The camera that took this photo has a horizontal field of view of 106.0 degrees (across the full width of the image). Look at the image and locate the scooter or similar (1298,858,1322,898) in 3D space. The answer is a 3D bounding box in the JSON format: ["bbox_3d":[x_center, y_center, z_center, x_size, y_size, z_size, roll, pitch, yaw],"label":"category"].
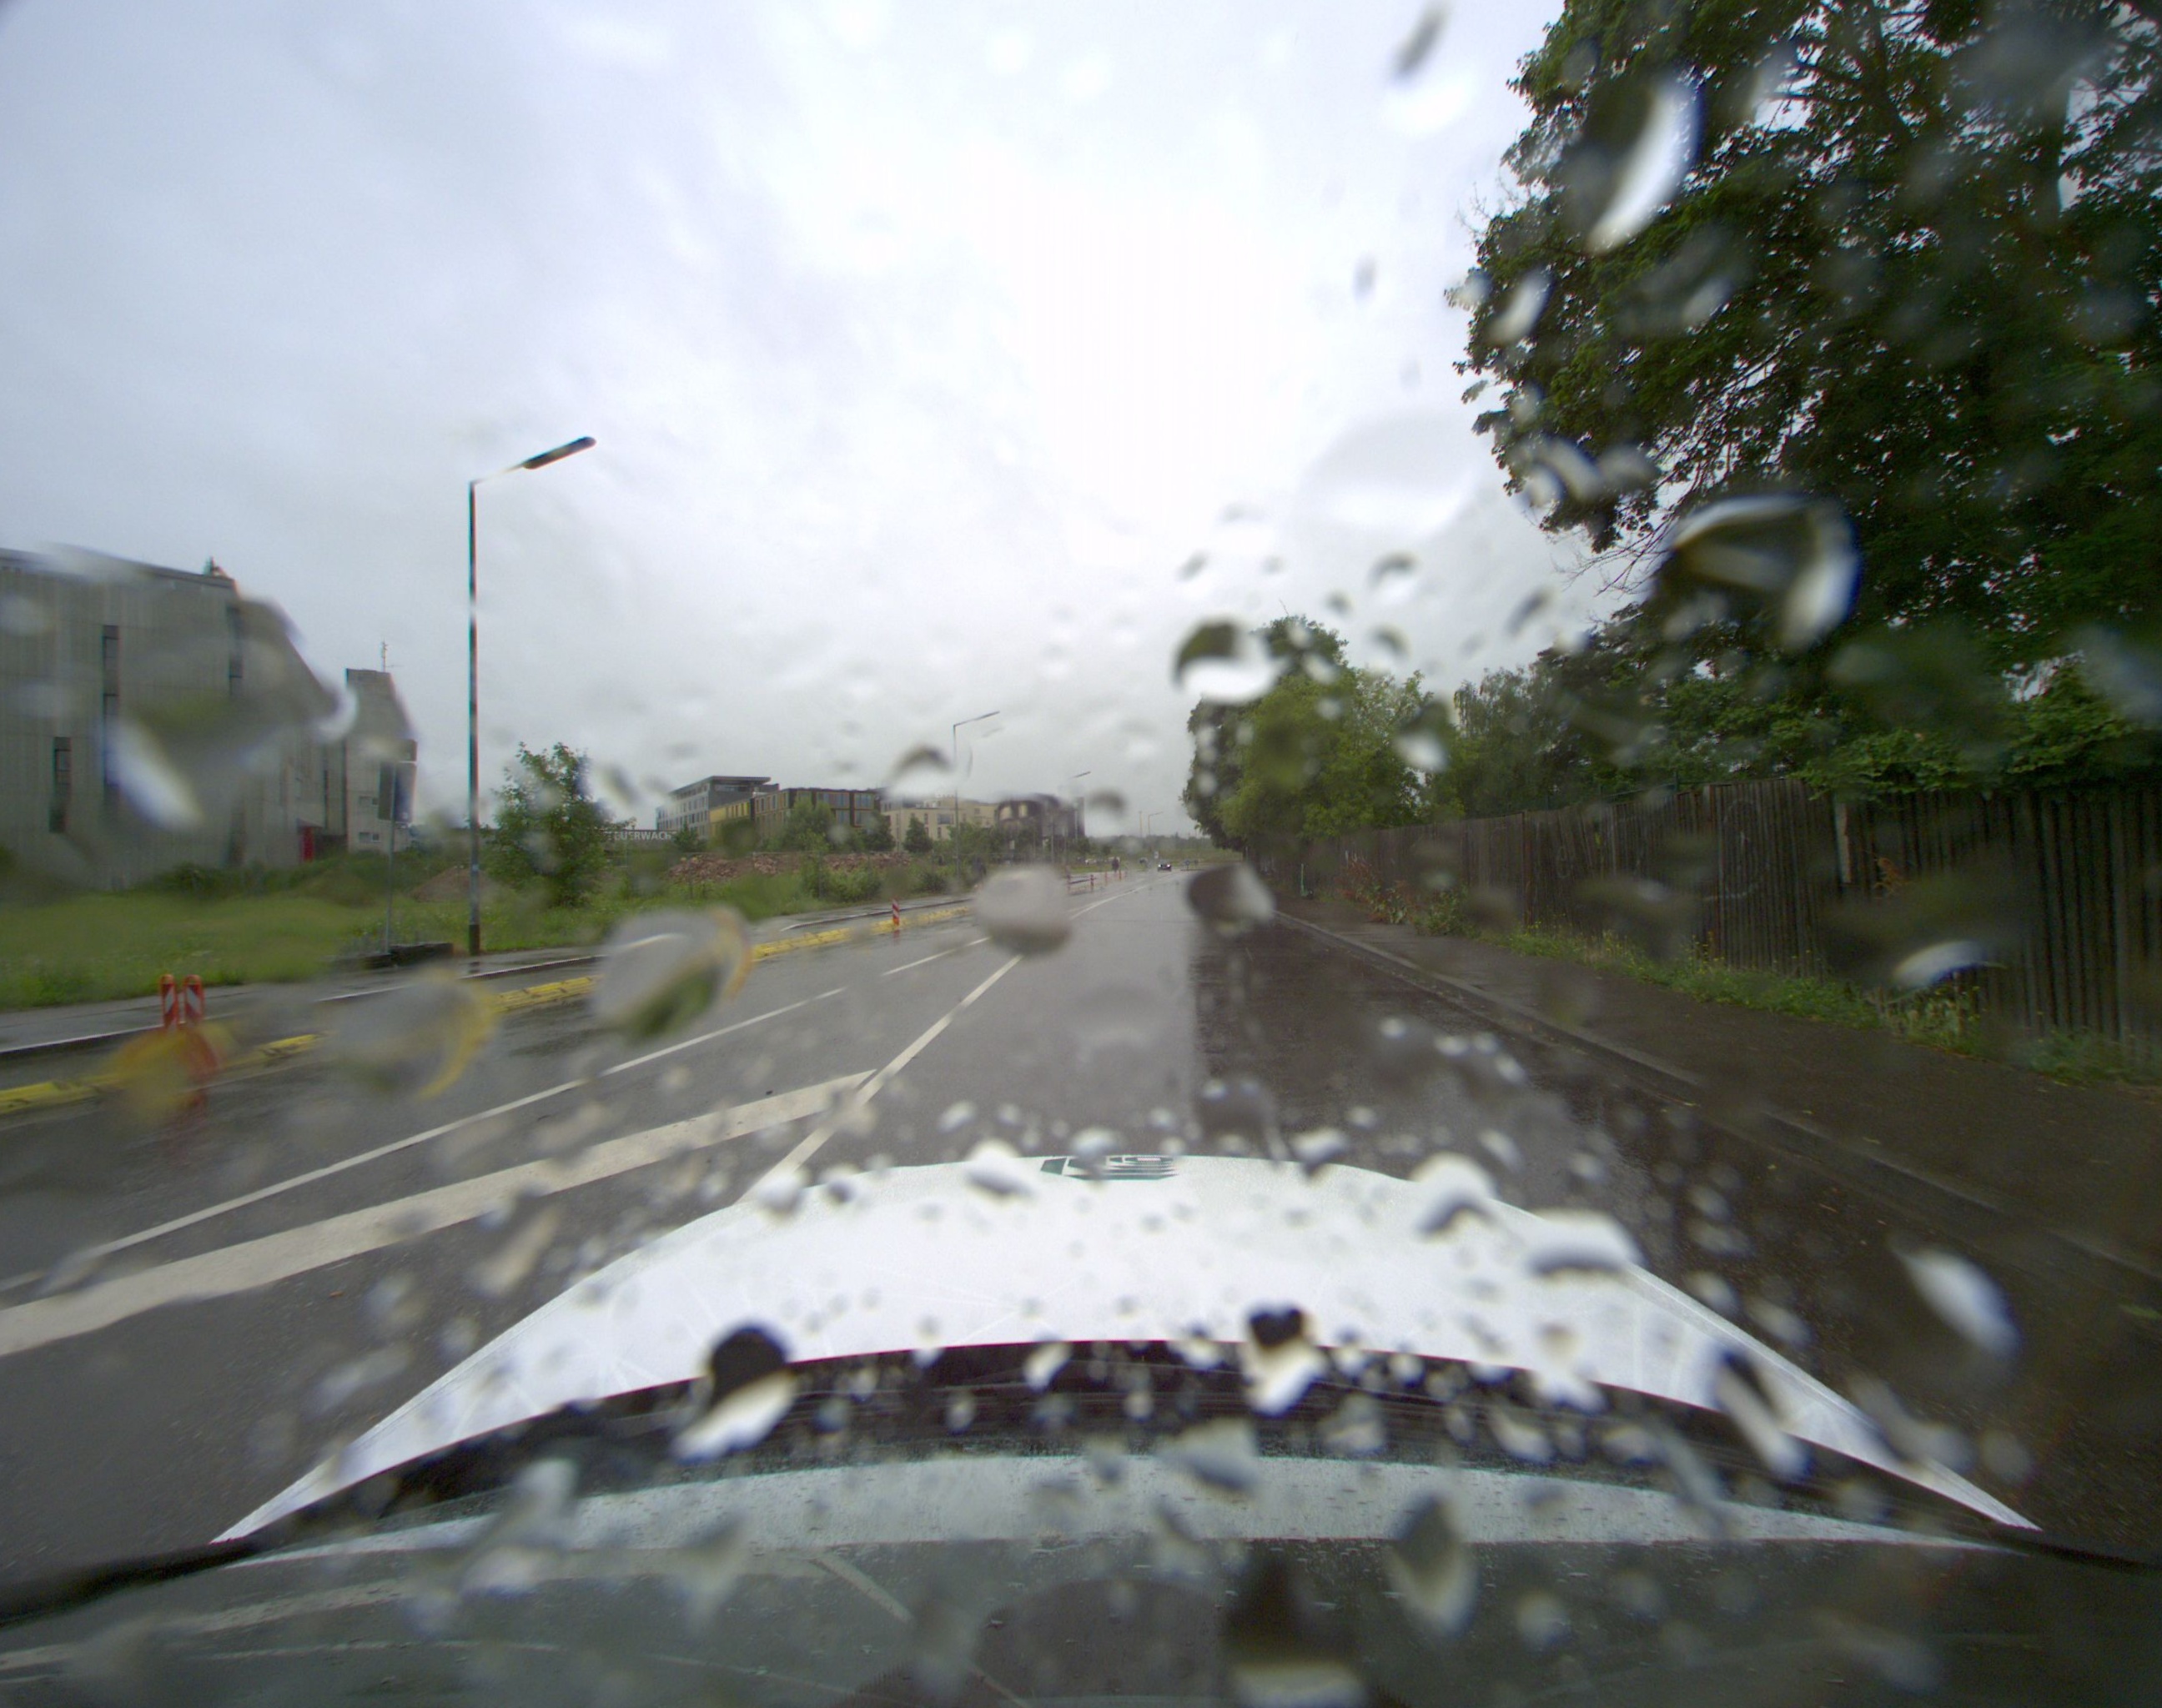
[{"bbox_3d":[7.361,0.752,26.216,0.488,1.235,1.373,-1,-1,6],"label":"scooter or similar"}]

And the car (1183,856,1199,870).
[{"bbox_3d":[15.561,1.245,115.015,1.980,1.772,4.012,-1,-3,12],"label":"car"}]

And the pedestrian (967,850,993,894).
[{"bbox_3d":[-4.648,0.840,37.494,0.840,2.014,1.135,-2,-3,13],"label":"pedestrian"}]

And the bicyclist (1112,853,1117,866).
[{"bbox_3d":[3.790,0.661,92.282,0.441,1.404,0.551,-1,-3,5],"label":"bicyclist"}]

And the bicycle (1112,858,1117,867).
[{"bbox_3d":[3.793,1.008,92.138,0.425,1.019,1.614,-1,-1,4],"label":"bicycle"}]

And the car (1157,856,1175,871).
[{"bbox_3d":[10.624,1.217,101.977,1.982,1.772,4.010,-1,-1,9],"label":"car"}]

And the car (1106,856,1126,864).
[{"bbox_3d":[8.055,1.418,186.931,4.016,1.772,1.978,1,-3,-35],"label":"car"}]
